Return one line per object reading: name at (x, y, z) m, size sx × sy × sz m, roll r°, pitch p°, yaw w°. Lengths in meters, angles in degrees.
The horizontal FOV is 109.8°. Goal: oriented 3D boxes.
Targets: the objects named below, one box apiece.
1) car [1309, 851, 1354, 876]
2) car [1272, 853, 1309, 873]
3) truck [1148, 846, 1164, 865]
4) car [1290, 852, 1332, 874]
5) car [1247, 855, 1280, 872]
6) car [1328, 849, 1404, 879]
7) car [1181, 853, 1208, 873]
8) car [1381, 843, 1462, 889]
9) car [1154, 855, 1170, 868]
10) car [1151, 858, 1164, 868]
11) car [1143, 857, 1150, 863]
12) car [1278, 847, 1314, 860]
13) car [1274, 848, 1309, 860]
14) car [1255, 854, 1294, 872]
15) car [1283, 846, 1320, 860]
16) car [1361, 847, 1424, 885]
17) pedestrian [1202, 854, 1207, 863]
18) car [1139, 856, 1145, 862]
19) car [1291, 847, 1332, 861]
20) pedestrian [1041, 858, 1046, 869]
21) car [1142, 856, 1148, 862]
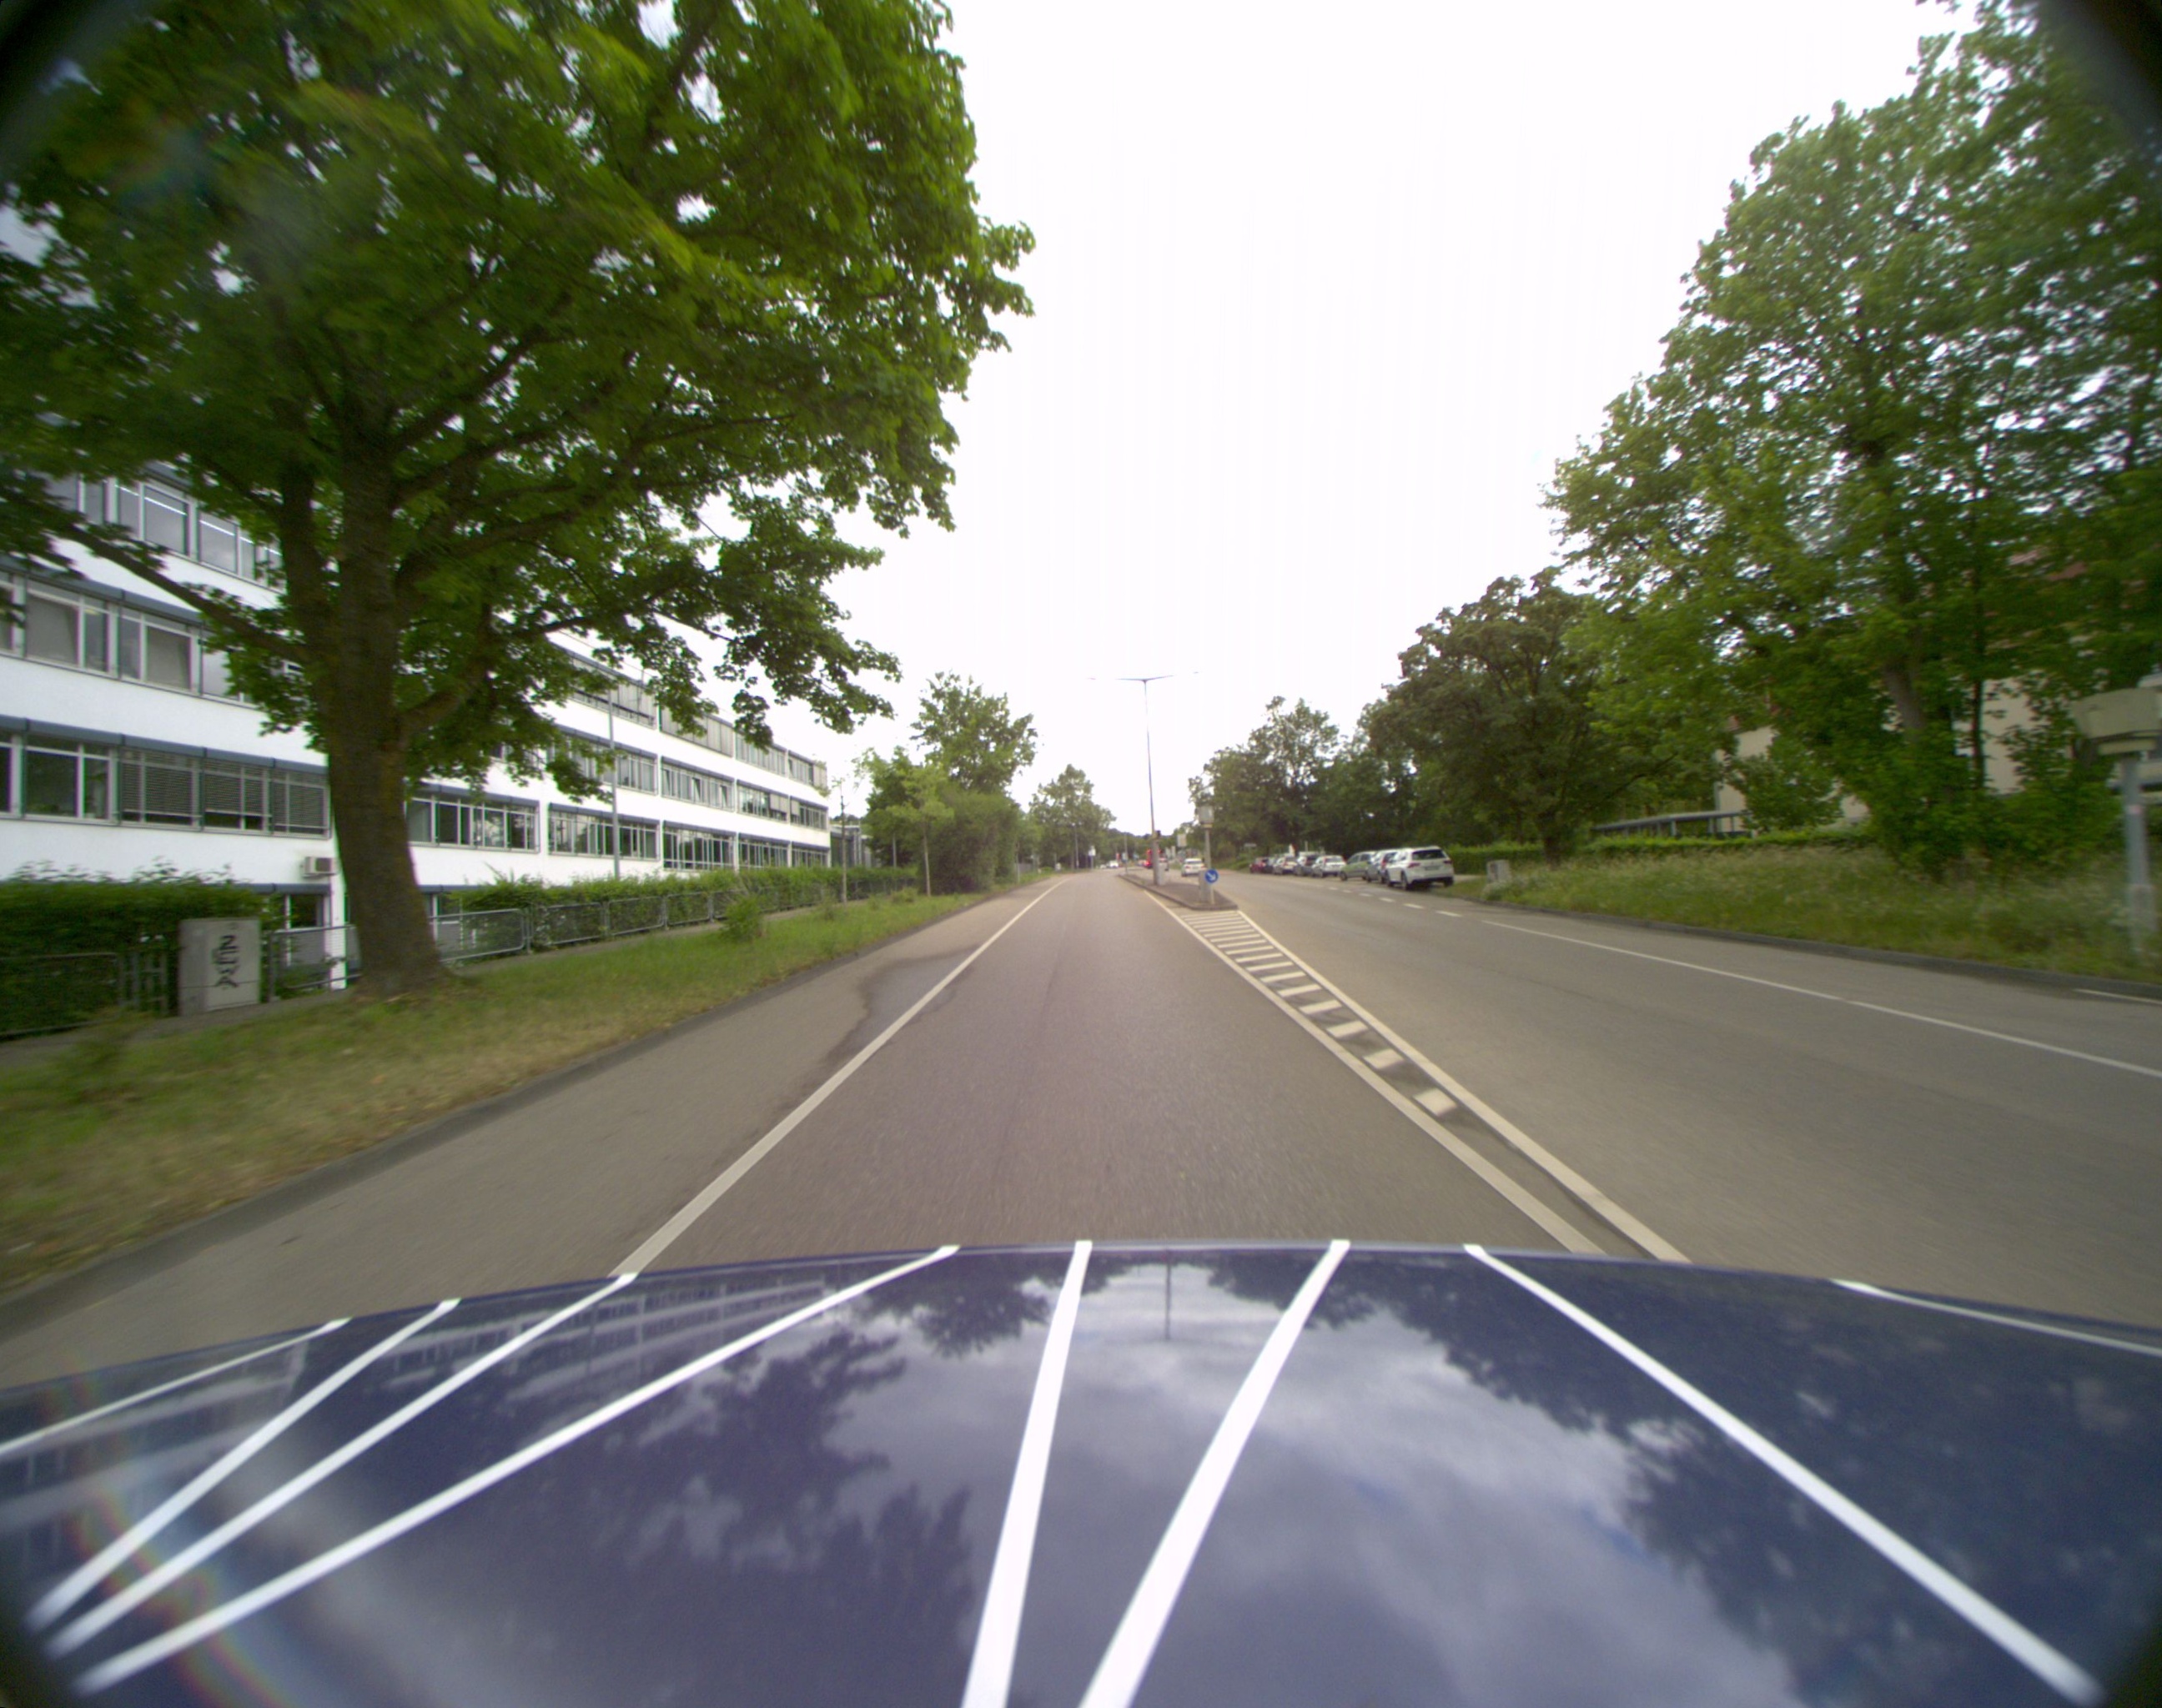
car at (16.789, 0.628, 51.151) m, size 1.879 × 1.498 × 4.001 m, roll -2°, pitch 0°, yaw 3°
car at (16.955, 0.703, 61.633) m, size 1.880 × 1.498 × 4.057 m, roll -3°, pitch 0°, yaw 1°
truck at (14.104, 0.289, 143.734) m, size 2.831 × 3.460 × 7.826 m, roll -2°, pitch 0°, yaw 5°
car at (16.898, 0.661, 56.055) m, size 1.880 × 1.498 × 4.000 m, roll -3°, pitch 0°, yaw 1°
car at (17.181, 0.920, 71.716) m, size 1.881 × 1.498 × 3.887 m, roll -3°, pitch 0°, yaw -5°
car at (15.751, 0.562, 42.214) m, size 1.882 × 1.498 × 3.994 m, roll -2°, pitch 0°, yaw -17°
car at (9.880, 0.772, 66.520) m, size 1.879 × 1.561 × 4.339 m, roll -3°, pitch 1°, yaw 3°
car at (13.964, 0.466, 31.443) m, size 1.879 × 1.657 × 4.394 m, roll -3°, pitch 0°, yaw 9°
car at (11.949, 1.157, 112.784) m, size 1.833 × 1.759 × 4.407 m, roll -3°, pitch 0°, yaw 1°
car at (11.925, 1.348, 118.114) m, size 1.733 × 1.477 × 4.123 m, roll -1°, pitch 0°, yaw 2°
car at (16.353, 1.508, 190.208) m, size 1.591 × 1.608 × 3.585 m, roll -2°, pitch 0°, yaw 5°
car at (34.411, -0.138, 121.493) m, size 5.297 × 2.002 × 1.739 m, roll -1°, pitch 1°, yaw 0°
car at (34.400, -0.034, 124.112) m, size 5.297 × 2.002 × 1.739 m, roll -1°, pitch 1°, yaw 0°
car at (17.121, 0.778, 67.449) m, size 1.881 × 1.498 × 3.997 m, roll -3°, pitch 0°, yaw -8°
car at (34.324, -0.169, 118.229) m, size 5.297 × 2.002 × 1.740 m, roll -1°, pitch 1°, yaw 2°
car at (15.056, 0.543, 36.907) m, size 1.879 × 1.587 × 4.002 m, roll -3°, pitch 1°, yaw 9°
pedestrian at (22.347, 0.824, 137.099) m, size 0.757 × 1.438 × 0.639 m, roll -3°, pitch 1°, yaw 1°
car at (16.720, 1.488, 209.259) m, size 1.591 × 1.608 × 3.585 m, roll -2°, pitch 0°, yaw 5°
car at (33.413, 0.025, 110.266) m, size 5.297 × 2.002 × 2.012 m, roll -1°, pitch 1°, yaw 0°
pedestrian at (-5.861, 1.496, 120.003) m, size 0.734 × 1.717 × 0.501 m, roll -1°, pitch 1°, yaw -2°
car at (17.071, 1.397, 203.445) m, size 1.591 × 1.608 × 3.585 m, roll -2°, pitch 0°, yaw 5°
